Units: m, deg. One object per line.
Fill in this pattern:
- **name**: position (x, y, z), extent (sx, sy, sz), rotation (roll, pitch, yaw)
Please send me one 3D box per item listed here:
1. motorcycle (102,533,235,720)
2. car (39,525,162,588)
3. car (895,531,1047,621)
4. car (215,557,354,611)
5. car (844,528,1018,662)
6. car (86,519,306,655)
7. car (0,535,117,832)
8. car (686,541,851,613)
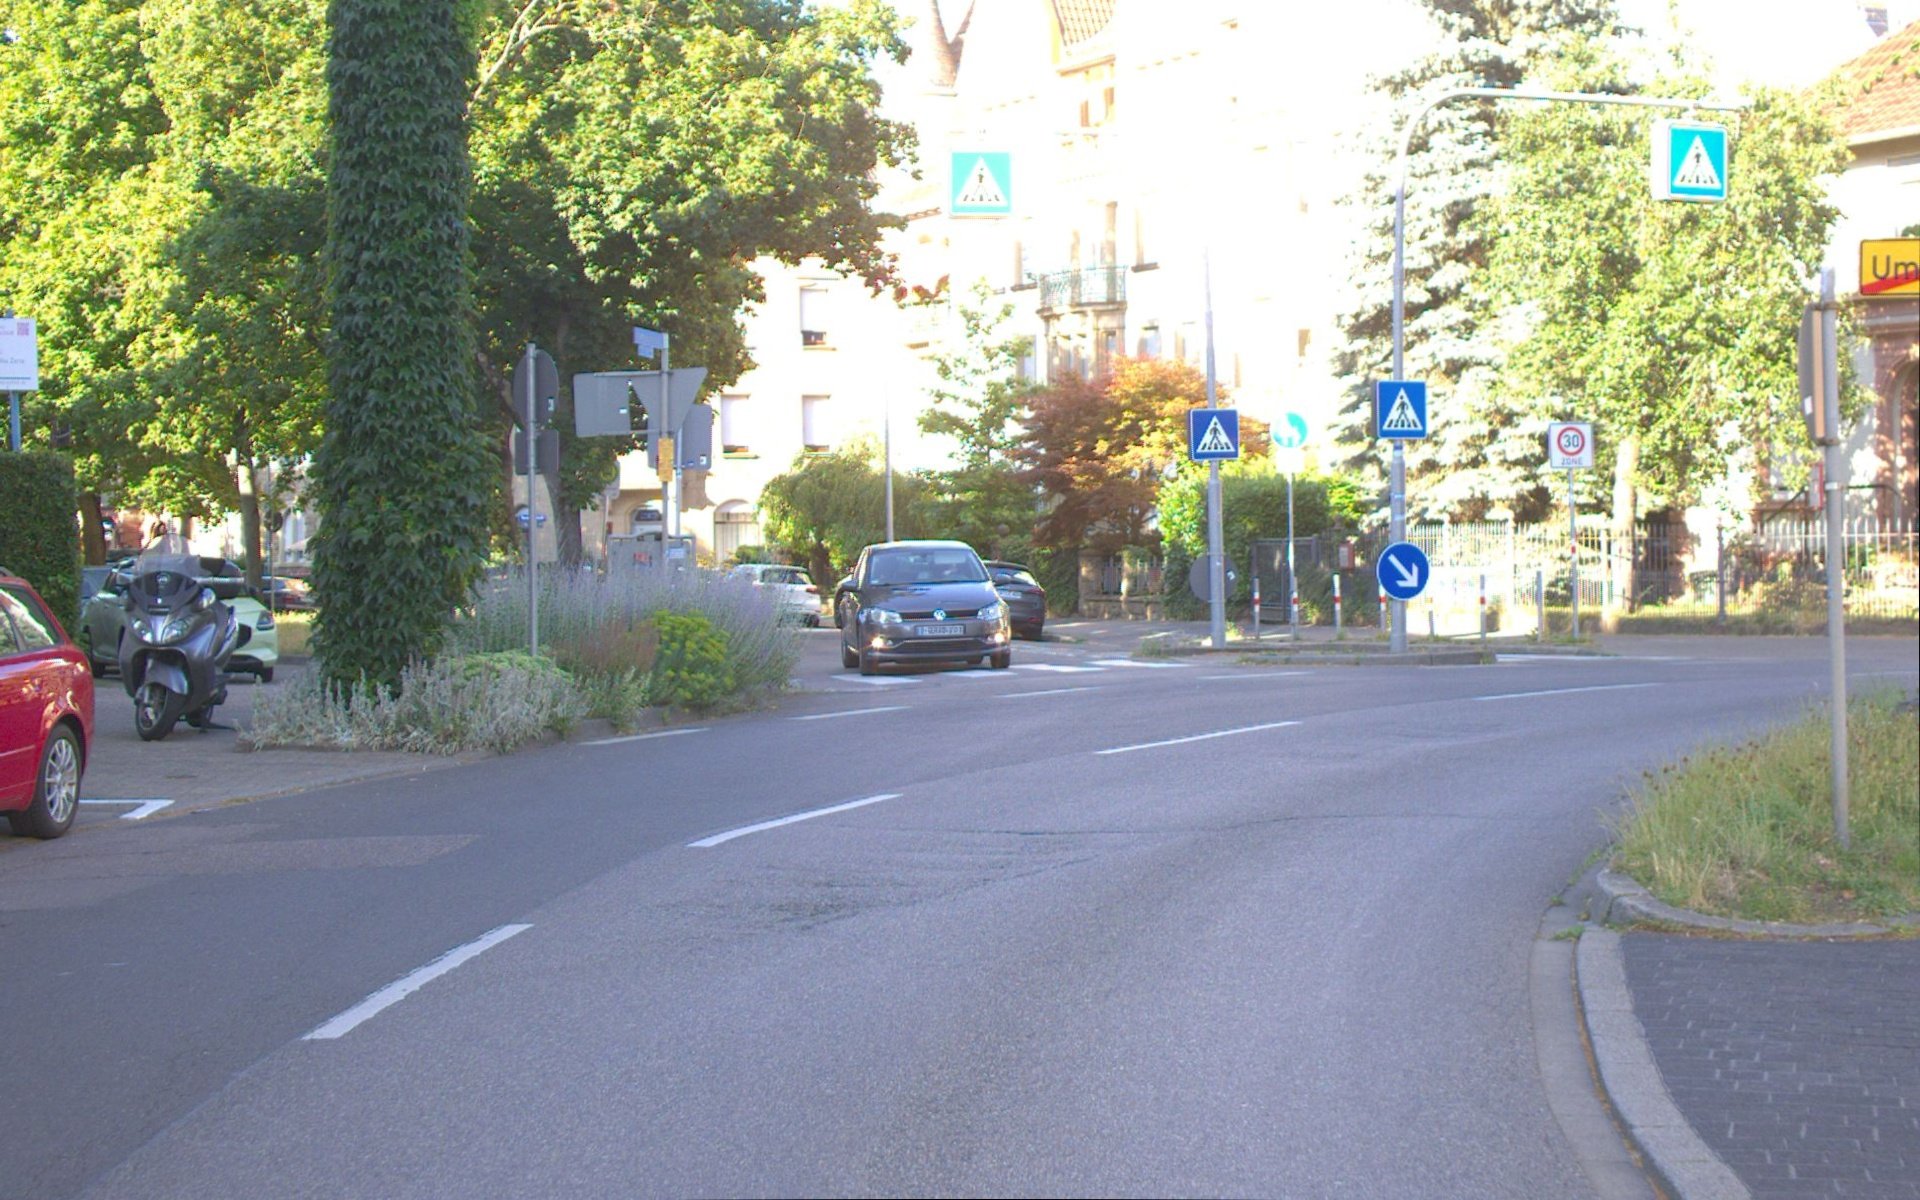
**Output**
- **motorcycle**: position (-6.009, 0.180, 26.174), extent (0.930, 1.353, 2.565), rotation (1, 0, -12)
- **car**: position (-28.881, -1.458, 115.425), extent (2.340, 2.034, 4.929), rotation (0, 1, -36)
- **car**: position (0.164, -0.450, 63.077), extent (1.993, 1.590, 4.001), rotation (1, 1, -11)
- **car**: position (-20.825, -0.500, 105.861), extent (2.340, 1.590, 4.929), rotation (0, 1, -36)
- **car**: position (-0.373, -0.088, 38.587), extent (1.712, 1.398, 3.739), rotation (-1, 1, -4)
- **car**: position (-9.113, -0.168, 40.786), extent (1.807, 1.531, 3.911), rotation (0, 1, -24)
- **car**: position (-5.739, 0.426, 16.709), extent (1.709, 1.461, 4.591), rotation (2, 2, 6)
- **car**: position (-4.422, -0.539, 78.698), extent (2.339, 1.590, 4.931), rotation (0, 1, -21)
